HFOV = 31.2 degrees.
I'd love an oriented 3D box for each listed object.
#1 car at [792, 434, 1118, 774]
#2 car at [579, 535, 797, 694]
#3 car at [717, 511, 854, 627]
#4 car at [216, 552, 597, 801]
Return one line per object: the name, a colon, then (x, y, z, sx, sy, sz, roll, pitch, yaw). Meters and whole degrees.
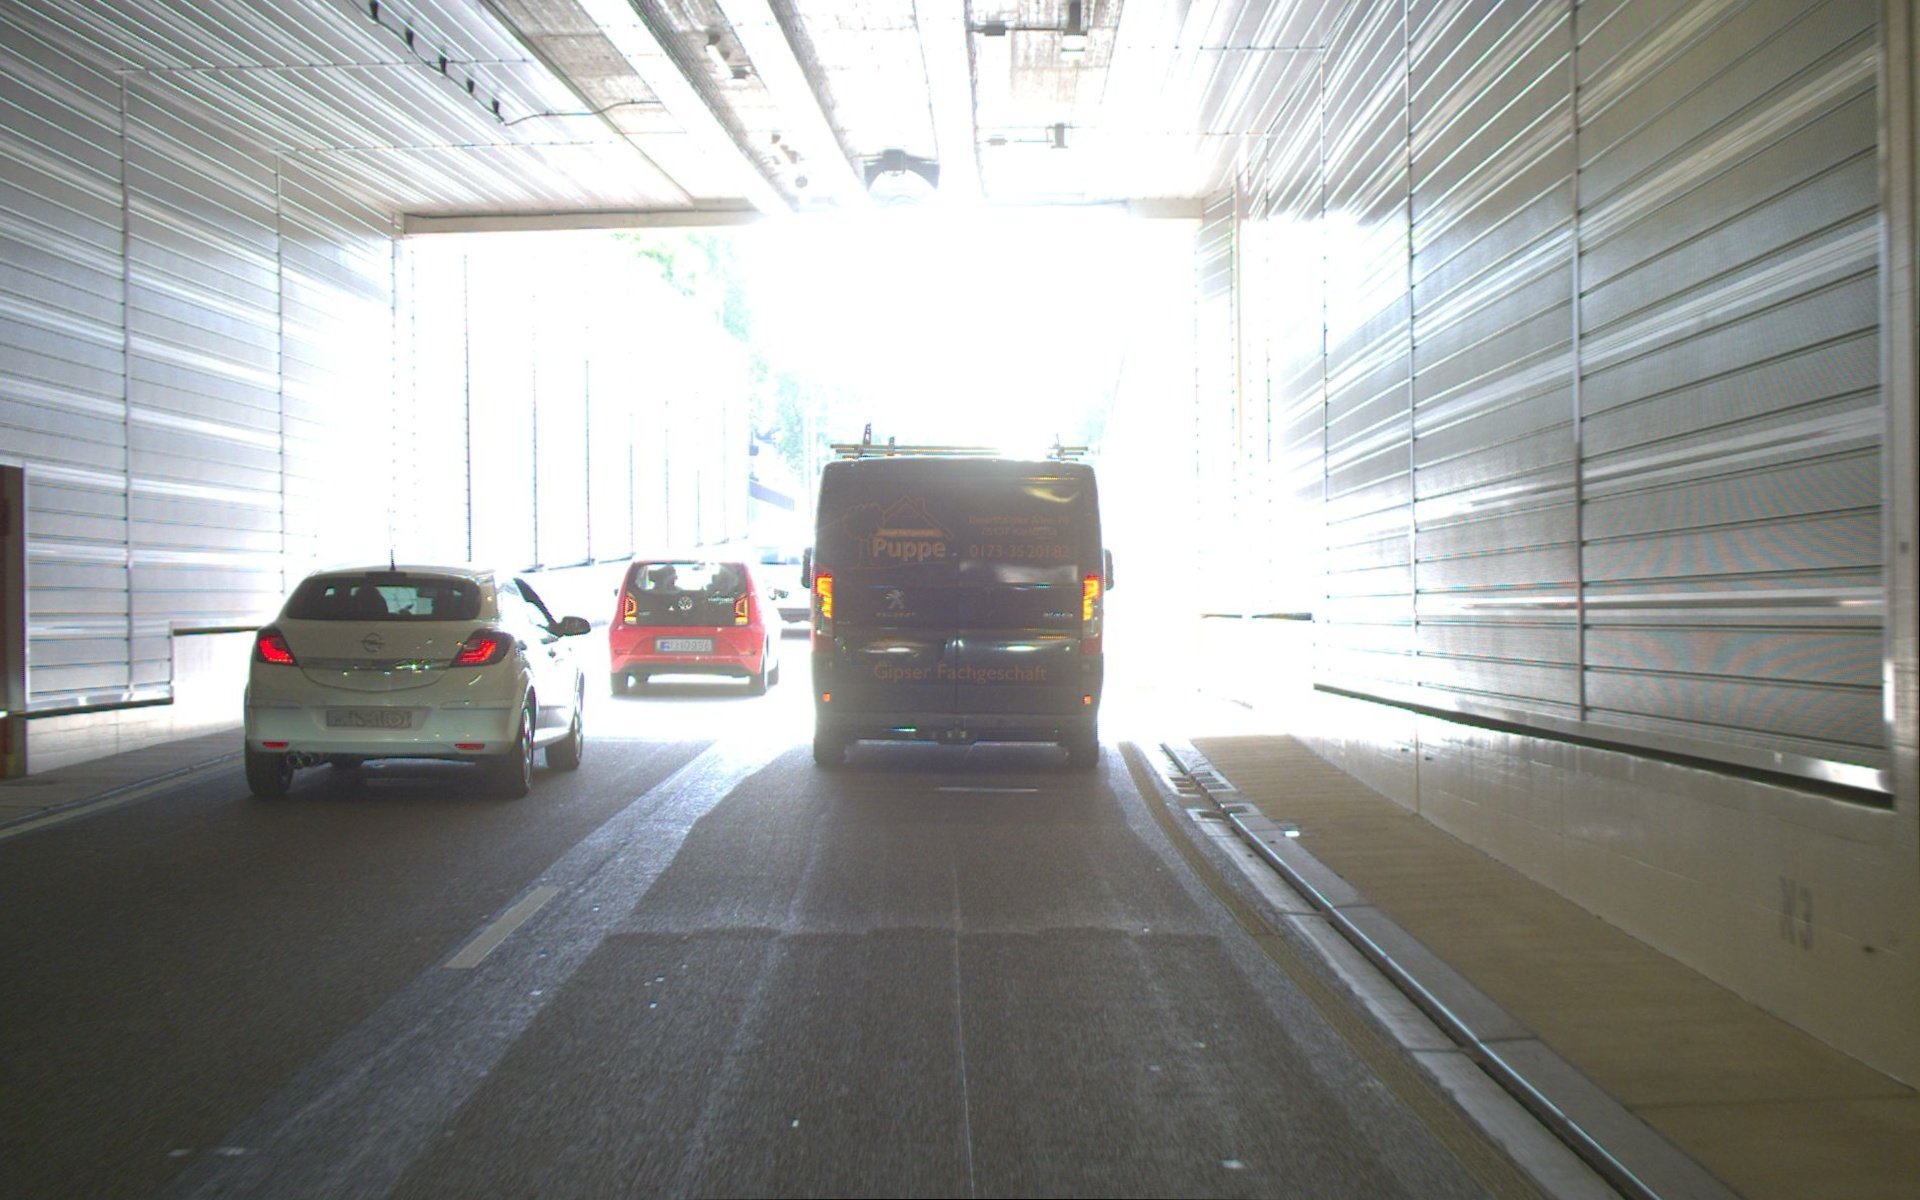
car: (-0.011, -0.006, 25.596, 2.158, 2.258, 4.637, 1, 1, 1)
car: (-2.828, 0.114, 36.561, 1.815, 1.507, 4.220, 3, 1, 2)
car: (-2.571, -0.432, 51.590, 1.876, 1.576, 4.220, 3, -1, -2)
car: (-3.427, 0.420, 21.975, 1.709, 1.408, 3.974, 1, 1, 1)
